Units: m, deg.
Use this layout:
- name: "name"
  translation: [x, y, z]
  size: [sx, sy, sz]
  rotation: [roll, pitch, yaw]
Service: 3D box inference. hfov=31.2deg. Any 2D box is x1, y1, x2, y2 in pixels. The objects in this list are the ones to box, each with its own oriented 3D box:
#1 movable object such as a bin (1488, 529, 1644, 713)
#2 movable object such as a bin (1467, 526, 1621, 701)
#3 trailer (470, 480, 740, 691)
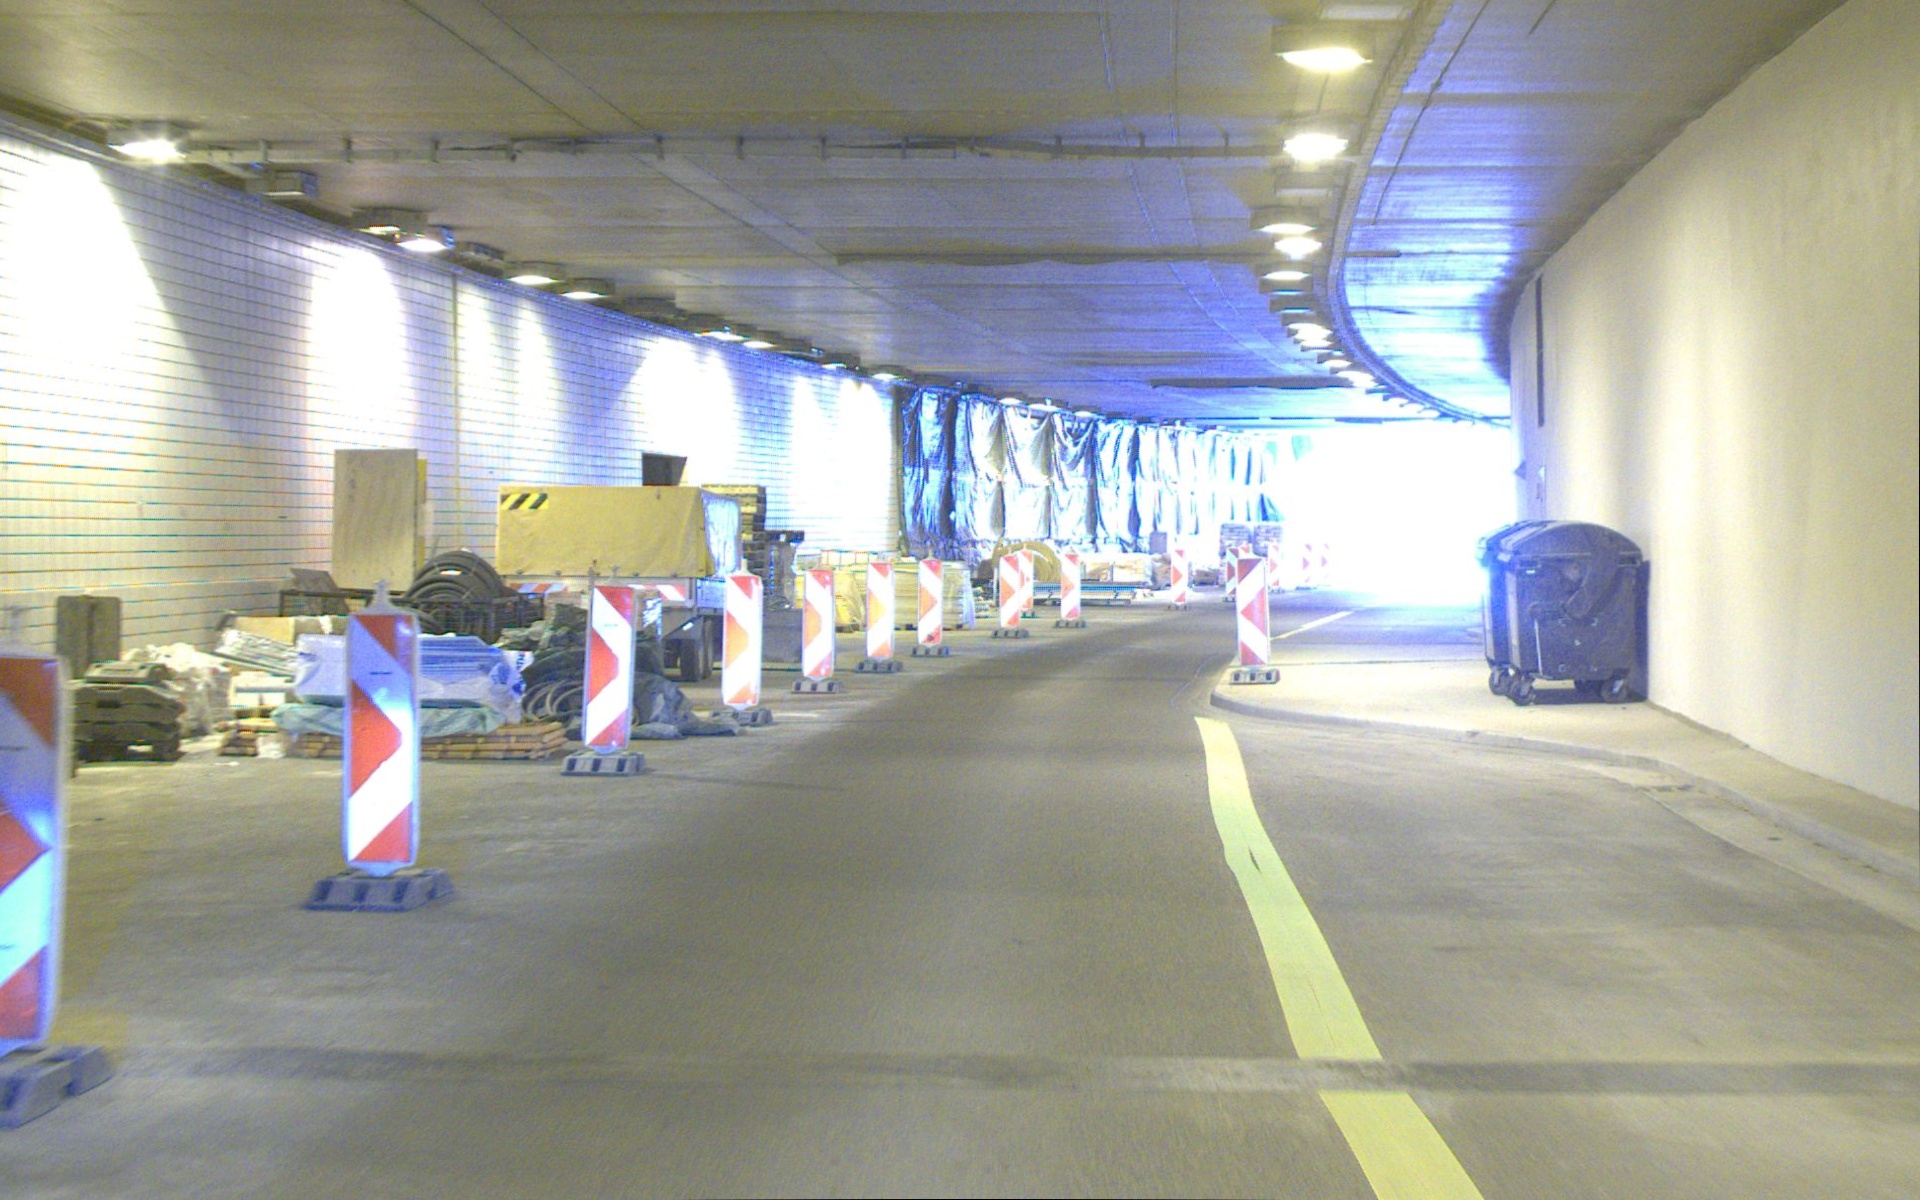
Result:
- name: "movable object such as a bin"
  translation: [4.874, 0.154, 27.751]
  size: [1.098, 1.440, 1.322]
  rotation: [0, 1, 4]
- name: "movable object such as a bin"
  translation: [4.930, 0.102, 29.130]
  size: [1.145, 1.440, 1.364]
  rotation: [0, 1, 4]
- name: "trailer"
  translation: [-3.523, -0.156, 34.756]
  size: [2.208, 2.007, 3.466]
  rotation: [0, 1, 3]
